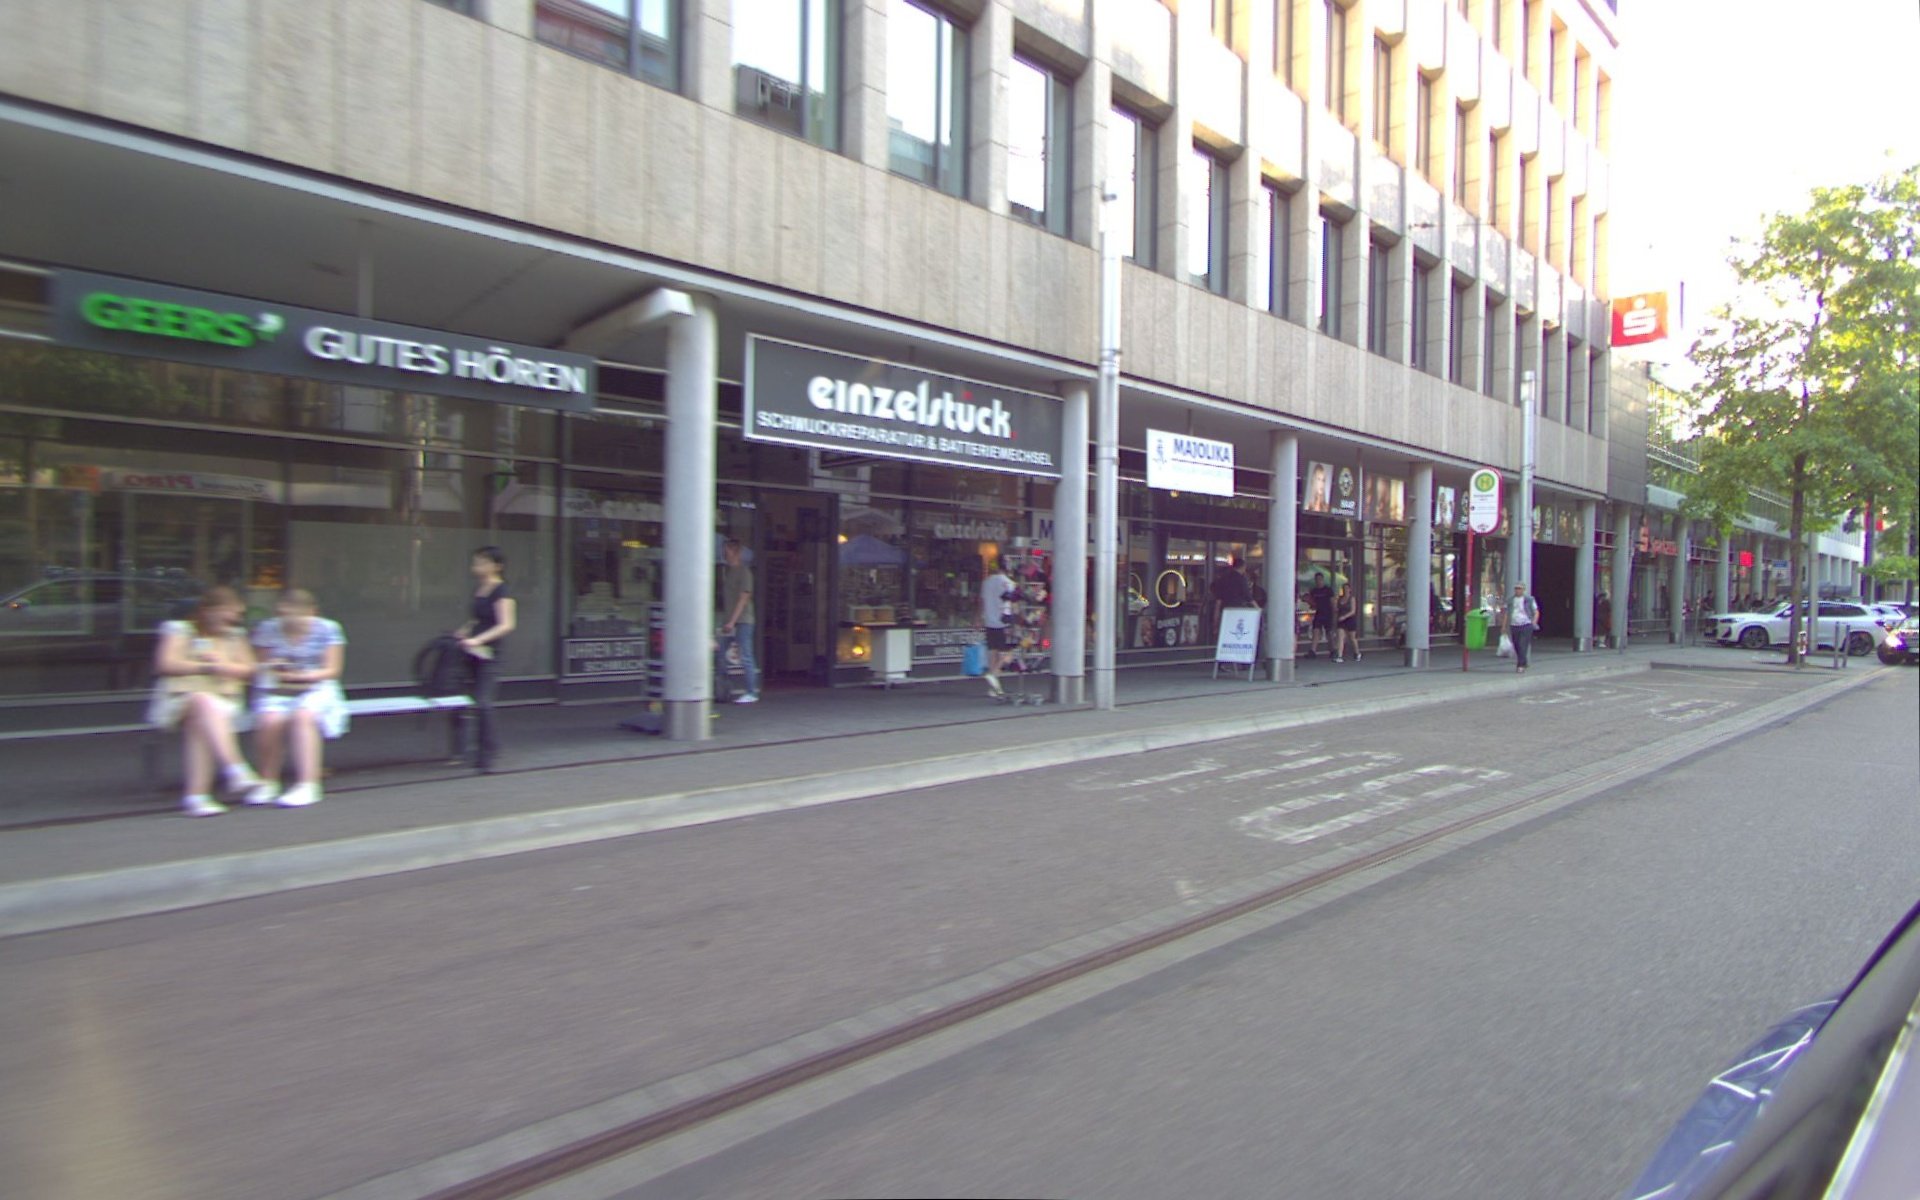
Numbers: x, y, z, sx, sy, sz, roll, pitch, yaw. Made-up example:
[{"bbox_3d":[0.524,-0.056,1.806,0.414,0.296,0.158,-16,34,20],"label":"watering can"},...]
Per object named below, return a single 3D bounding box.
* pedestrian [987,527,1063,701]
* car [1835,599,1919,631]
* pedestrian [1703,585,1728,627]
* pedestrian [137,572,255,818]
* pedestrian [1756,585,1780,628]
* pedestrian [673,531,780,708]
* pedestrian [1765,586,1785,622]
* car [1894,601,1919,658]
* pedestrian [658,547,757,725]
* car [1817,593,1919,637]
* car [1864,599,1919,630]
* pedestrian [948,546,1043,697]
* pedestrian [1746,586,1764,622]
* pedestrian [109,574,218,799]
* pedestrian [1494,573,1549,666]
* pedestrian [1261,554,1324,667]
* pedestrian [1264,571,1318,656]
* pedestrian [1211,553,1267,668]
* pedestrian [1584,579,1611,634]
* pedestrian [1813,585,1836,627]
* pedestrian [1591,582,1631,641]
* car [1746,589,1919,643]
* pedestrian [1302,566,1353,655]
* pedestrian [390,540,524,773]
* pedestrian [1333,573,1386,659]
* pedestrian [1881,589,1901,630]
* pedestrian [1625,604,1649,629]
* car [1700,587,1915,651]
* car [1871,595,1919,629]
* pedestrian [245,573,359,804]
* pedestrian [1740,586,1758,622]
[{"bbox_3d":[0.764,0.150,11.892,0.644,1.968,0.579,0,1,-42],"label":"pedestrian"},{"bbox_3d":[46.350,0.743,50.207,3.948,1.530,1.789,-2,-1,19],"label":"car"},{"bbox_3d":[31.522,0.231,42.223,0.618,1.712,0.556,1,1,12],"label":"pedestrian"},{"bbox_3d":[-4.490,0.511,5.938,0.523,1.331,0.719,0,0,-40],"label":"pedestrian"},{"bbox_3d":[32.494,0.261,40.685,0.617,1.712,0.617,0,1,-41],"label":"pedestrian"},{"bbox_3d":[-2.655,0.195,11.504,0.883,1.912,0.846,0,2,-41],"label":"pedestrian"},{"bbox_3d":[39.058,0.171,48.509,0.617,1.712,0.617,0,1,-41],"label":"pedestrian"},{"bbox_3d":[26.420,0.746,26.800,4.482,1.426,1.798,0,0,-39],"label":"car"},{"bbox_3d":[-2.506,0.324,10.043,0.709,1.682,0.689,0,2,-40],"label":"pedestrian"},{"bbox_3d":[41.630,0.660,45.429,4.397,1.904,1.793,-2,-1,12],"label":"car"},{"bbox_3d":[49.432,0.719,51.975,3.948,1.530,1.853,-2,-1,19],"label":"car"},{"bbox_3d":[0.448,0.243,12.840,0.844,1.819,0.846,0,2,-41],"label":"pedestrian"},{"bbox_3d":[38.557,0.167,49.092,0.617,1.712,0.557,0,1,-41],"label":"pedestrian"},{"bbox_3d":[-5.057,0.508,6.424,0.523,1.331,0.719,0,0,-40],"label":"pedestrian"},{"bbox_3d":[9.963,0.330,17.954,0.627,1.608,0.669,0,-1,-42],"label":"pedestrian"},{"bbox_3d":[5.828,0.165,17.728,0.782,1.912,0.708,0,2,-41],"label":"pedestrian"},{"bbox_3d":[6.647,0.250,20.333,0.805,1.664,0.711,0,2,-43],"label":"pedestrian"},{"bbox_3d":[4.771,0.163,17.329,0.671,1.912,0.617,0,1,-40],"label":"pedestrian"},{"bbox_3d":[21.355,0.214,33.896,0.617,1.794,0.557,0,1,-41],"label":"pedestrian"},{"bbox_3d":[36.211,0.235,42.403,0.617,1.712,0.617,0,1,-41],"label":"pedestrian"},{"bbox_3d":[18.652,0.311,28.993,0.728,1.664,0.749,0,2,-42],"label":"pedestrian"},{"bbox_3d":[31.085,0.535,35.908,4.570,1.607,1.910,3,2,14],"label":"car"},{"bbox_3d":[7.682,0.202,21.145,0.849,1.794,0.674,0,2,-43],"label":"pedestrian"},{"bbox_3d":[-3.679,0.370,7.394,0.723,1.589,0.726,0,2,-40],"label":"pedestrian"},{"bbox_3d":[7.969,0.298,20.172,0.775,1.664,0.681,0,2,-43],"label":"pedestrian"},{"bbox_3d":[39.409,0.380,42.842,0.616,1.712,0.618,1,0,44],"label":"pedestrian"},{"bbox_3d":[24.945,0.592,37.289,0.548,0.892,0.627,0,2,-42],"label":"pedestrian"},{"bbox_3d":[25.801,0.547,31.002,4.574,1.650,1.908,3,0,17],"label":"car"},{"bbox_3d":[52.594,0.628,55.112,3.957,1.809,1.849,-2,-2,25],"label":"car"},{"bbox_3d":[-4.081,0.507,6.269,0.515,1.331,0.719,0,0,-40],"label":"pedestrian"},{"bbox_3d":[37.247,0.183,47.773,0.617,1.712,0.557,0,1,-41],"label":"pedestrian"}]
